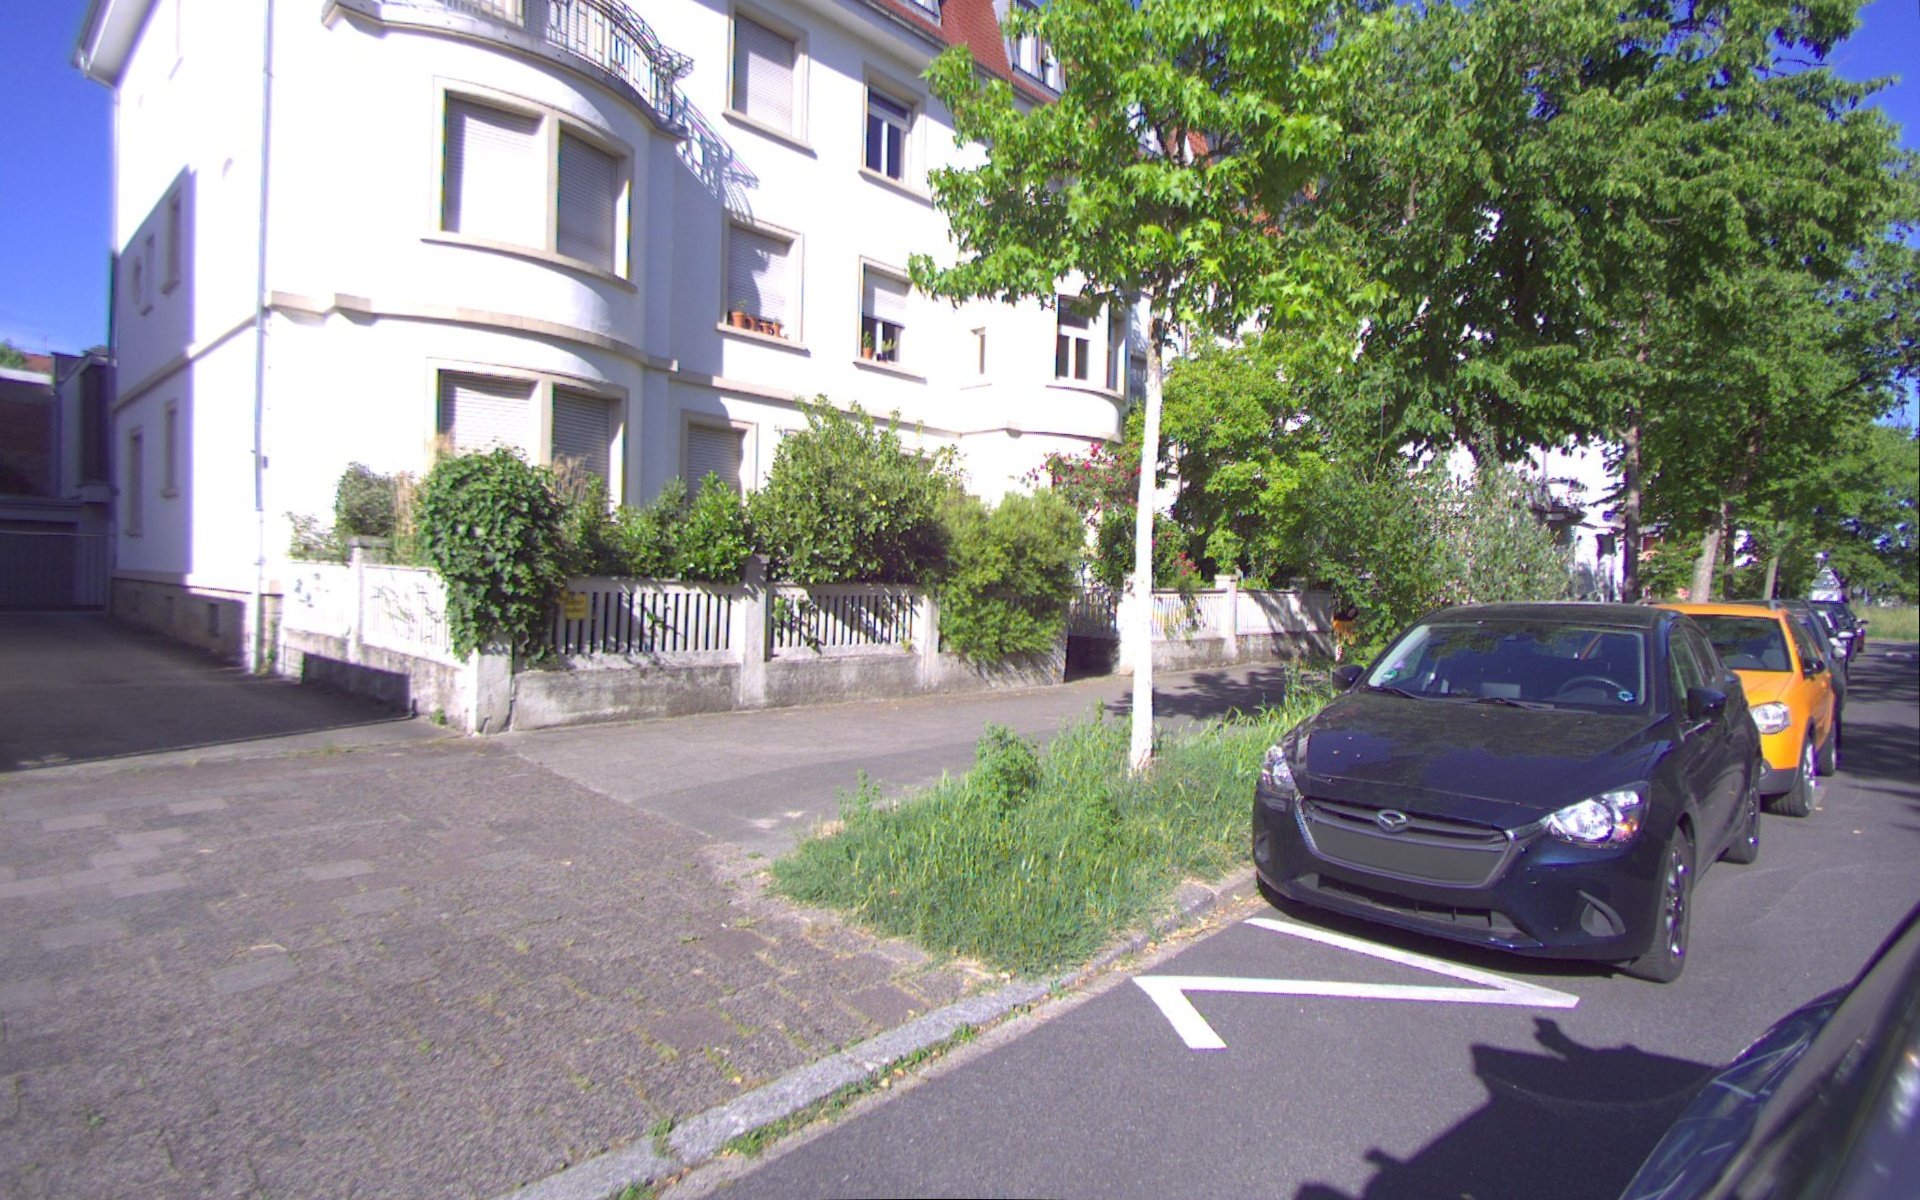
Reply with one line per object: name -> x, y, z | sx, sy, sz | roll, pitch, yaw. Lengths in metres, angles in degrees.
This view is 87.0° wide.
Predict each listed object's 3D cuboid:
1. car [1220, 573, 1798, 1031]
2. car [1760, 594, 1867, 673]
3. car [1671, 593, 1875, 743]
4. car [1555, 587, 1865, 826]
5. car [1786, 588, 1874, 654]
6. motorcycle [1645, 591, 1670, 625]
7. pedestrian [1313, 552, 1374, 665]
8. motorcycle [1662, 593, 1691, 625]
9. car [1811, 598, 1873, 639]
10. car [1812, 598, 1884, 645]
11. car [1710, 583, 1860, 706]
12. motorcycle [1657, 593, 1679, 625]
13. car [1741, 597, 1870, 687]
car -> 3.168, 0.657, 5.387 | 1.701, 1.467, 4.018 | 3, 2, 43
car -> 19.196, 0.682, 22.728 | 1.682, 1.608, 4.467 | -1, -1, 41
car -> 9.794, 0.688, 12.161 | 1.648, 1.446, 3.559 | 3, 2, 41
car -> 6.429, 0.674, 8.483 | 1.636, 1.473, 4.036 | 3, 2, 43
car -> 25.355, 0.561, 29.454 | 1.780, 1.719, 4.231 | 3, 2, 42
motorcycle -> 28.887, 0.332, 41.900 | 0.539, 1.378, 2.057 | 2, 1, 43
pedestrian -> 6.327, 0.124, 16.682 | 0.622, 1.797, 0.787 | 3, 2, 43
motorcycle -> 31.795, 0.371, 44.882 | 0.968, 1.345, 1.828 | 2, 1, 38
car -> 33.274, 0.657, 38.139 | 1.652, 1.419, 4.072 | 3, 2, 42
car -> 30.191, 0.683, 34.497 | 1.609, 1.427, 4.290 | 2, 1, 39
car -> 13.044, 0.606, 16.029 | 1.647, 1.676, 3.791 | 2, 1, 40
motorcycle -> 30.488, 0.382, 43.585 | 0.655, 1.295, 1.777 | 4, 3, 36
car -> 16.209, 0.712, 19.324 | 1.630, 1.442, 4.300 | 3, 2, 43
